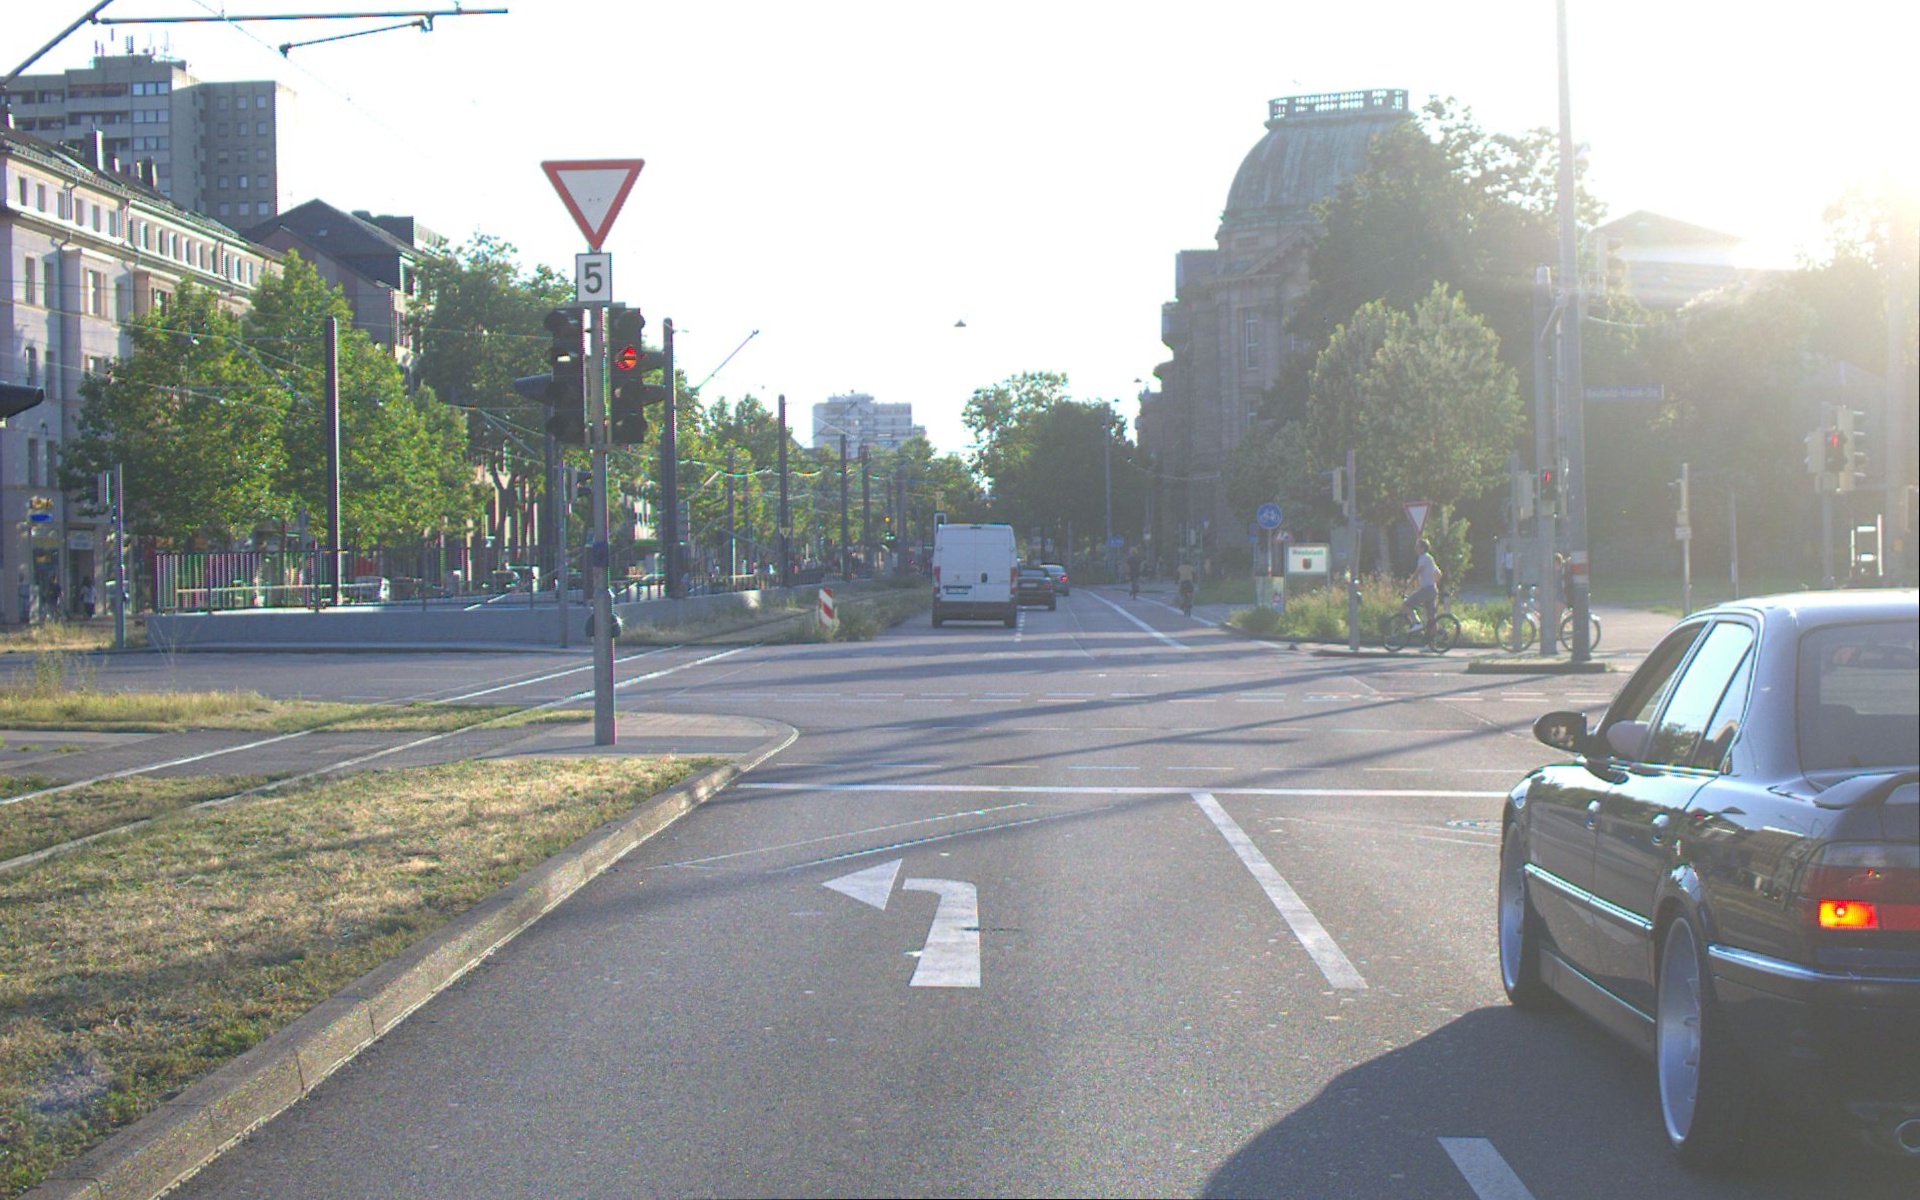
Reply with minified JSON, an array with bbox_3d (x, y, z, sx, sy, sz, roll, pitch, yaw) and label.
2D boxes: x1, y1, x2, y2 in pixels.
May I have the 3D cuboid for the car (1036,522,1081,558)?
[{"bbox_3d":[4.590,-2.814,159.993,1.794,1.560,4.001,-1,2,-2],"label":"car"}]

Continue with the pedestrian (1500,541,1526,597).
[{"bbox_3d":[16.223,-0.912,100.846,0.682,1.605,0.612,-1,2,2],"label":"pedestrian"}]

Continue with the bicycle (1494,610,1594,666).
[{"bbox_3d":[10.345,0.668,60.892,1.719,0.966,0.609,0,2,11],"label":"bicycle"}]

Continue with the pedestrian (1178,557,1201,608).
[{"bbox_3d":[6.789,-0.528,101.645,0.616,1.470,0.800,-1,2,6],"label":"pedestrian"}]

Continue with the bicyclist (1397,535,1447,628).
[{"bbox_3d":[7.950,-0.318,59.154,0.797,1.566,0.663,-1,2,5],"label":"bicyclist"}]

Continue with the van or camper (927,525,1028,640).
[{"bbox_3d":[0.467,-0.457,83.628,2.263,2.616,4.503,-1,2,2],"label":"van or camper"}]

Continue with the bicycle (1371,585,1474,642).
[{"bbox_3d":[7.956,0.232,59.167,1.728,0.966,0.609,0,2,5],"label":"bicycle"}]

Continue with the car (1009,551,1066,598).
[{"bbox_3d":[2.512,-0.826,110.701,1.737,1.381,4.000,-1,2,2],"label":"car"}]

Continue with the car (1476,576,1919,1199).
[{"bbox_3d":[2.634,0.654,9.405,1.830,1.349,4.641,0,1,1],"label":"car"}]

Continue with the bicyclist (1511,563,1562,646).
[{"bbox_3d":[10.208,0.079,60.893,0.854,1.437,0.663,-1,2,11],"label":"bicyclist"}]
